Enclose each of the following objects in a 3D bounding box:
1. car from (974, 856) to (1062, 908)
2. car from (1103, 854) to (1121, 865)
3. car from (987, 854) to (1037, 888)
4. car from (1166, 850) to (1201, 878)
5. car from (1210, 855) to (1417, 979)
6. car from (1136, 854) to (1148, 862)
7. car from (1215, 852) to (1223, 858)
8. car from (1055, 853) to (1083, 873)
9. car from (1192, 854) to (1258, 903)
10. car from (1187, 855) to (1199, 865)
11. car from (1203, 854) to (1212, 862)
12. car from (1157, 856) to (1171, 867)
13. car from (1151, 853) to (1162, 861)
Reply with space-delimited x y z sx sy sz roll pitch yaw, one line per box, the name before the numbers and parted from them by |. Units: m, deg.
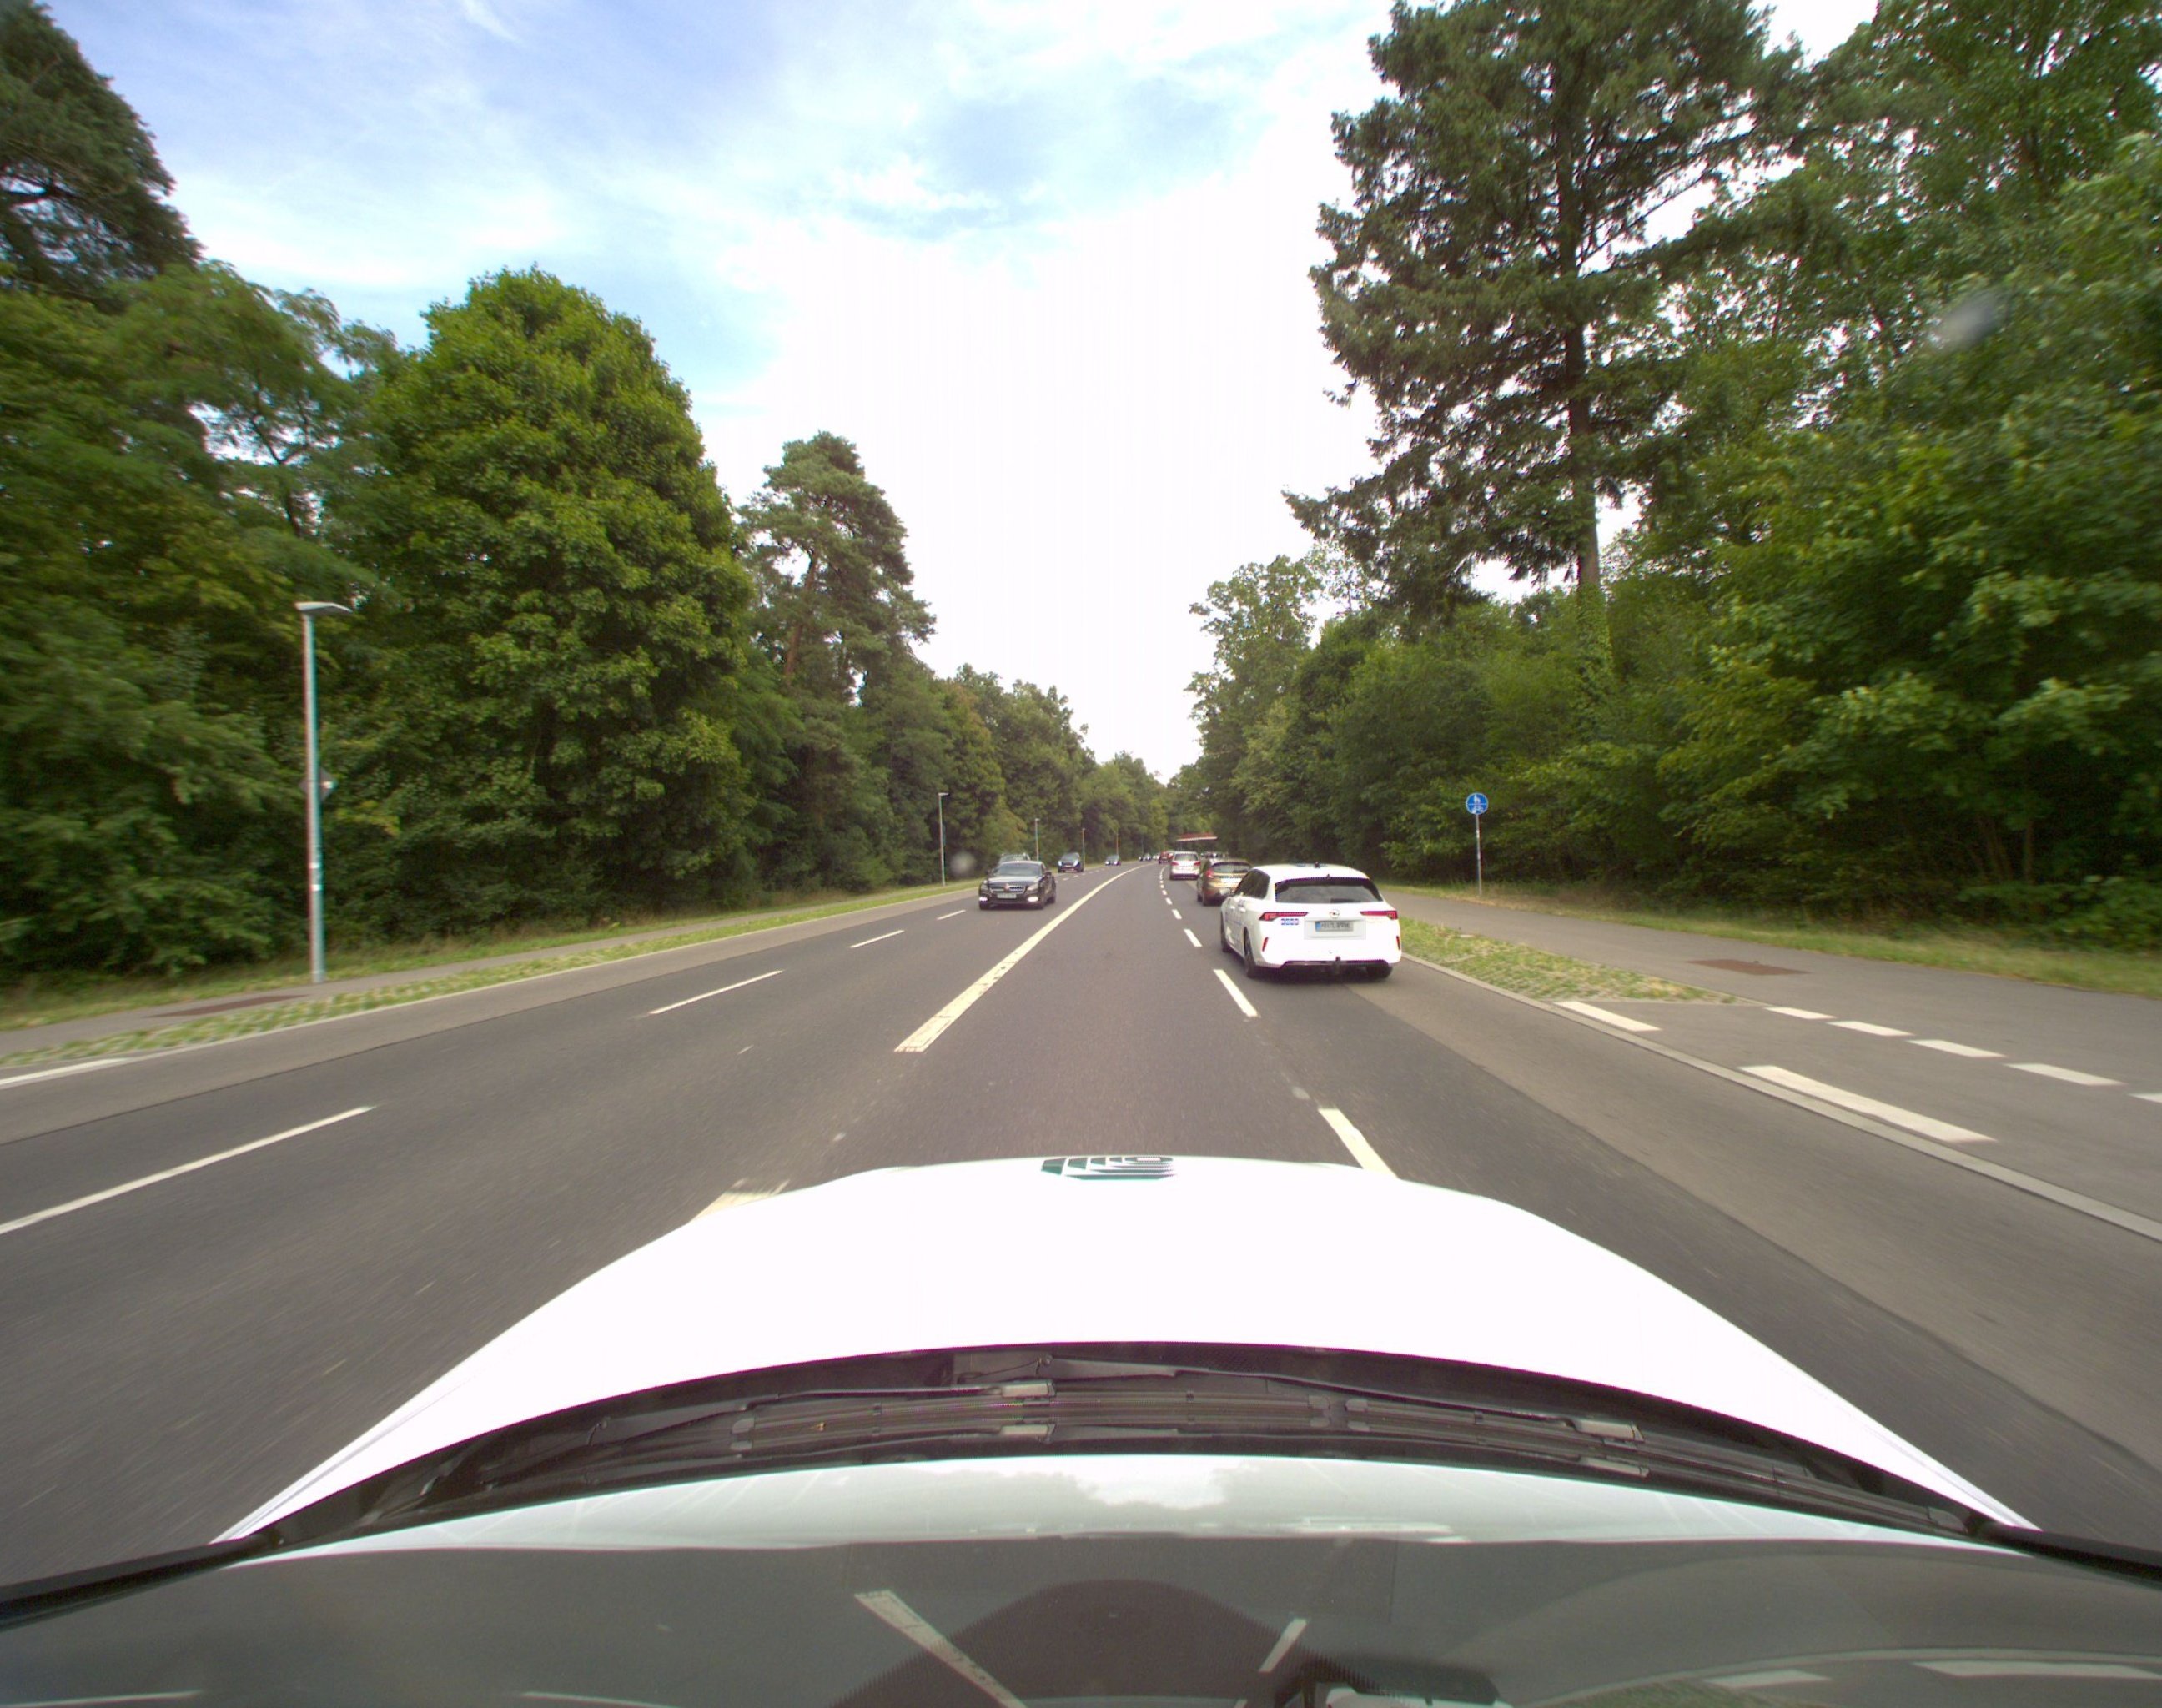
car | -1.817 0.823 25.114 1.984 1.435 4.726 0 -1 4
car | 4.193 0.772 109.970 1.885 1.484 4.548 1 -1 8
car | -3.536 0.878 42.563 1.914 1.655 4.474 0 -1 4
car | 6.146 0.601 48.942 1.983 1.607 4.007 1 -1 6
car | 3.007 0.721 11.536 1.829 1.410 4.494 0 0 3
car | 11.406 0.766 152.306 1.870 1.443 4.414 1 -1 9
car | 39.155 0.270 231.675 1.980 1.706 4.014 -1 0 12
car | -0.992 0.818 70.520 1.984 1.617 4.669 1 -1 4
car | 4.473 0.756 25.782 1.628 1.420 4.004 1 -1 4
car | 20.794 1.145 151.076 1.981 1.783 4.011 1 -1 10
car | 31.258 1.018 200.985 1.980 1.783 4.014 1 -1 13
car | 12.285 1.131 120.405 1.718 1.587 4.012 1 -1 11
car | 16.045 0.644 172.660 1.982 1.563 4.615 1 -1 9
